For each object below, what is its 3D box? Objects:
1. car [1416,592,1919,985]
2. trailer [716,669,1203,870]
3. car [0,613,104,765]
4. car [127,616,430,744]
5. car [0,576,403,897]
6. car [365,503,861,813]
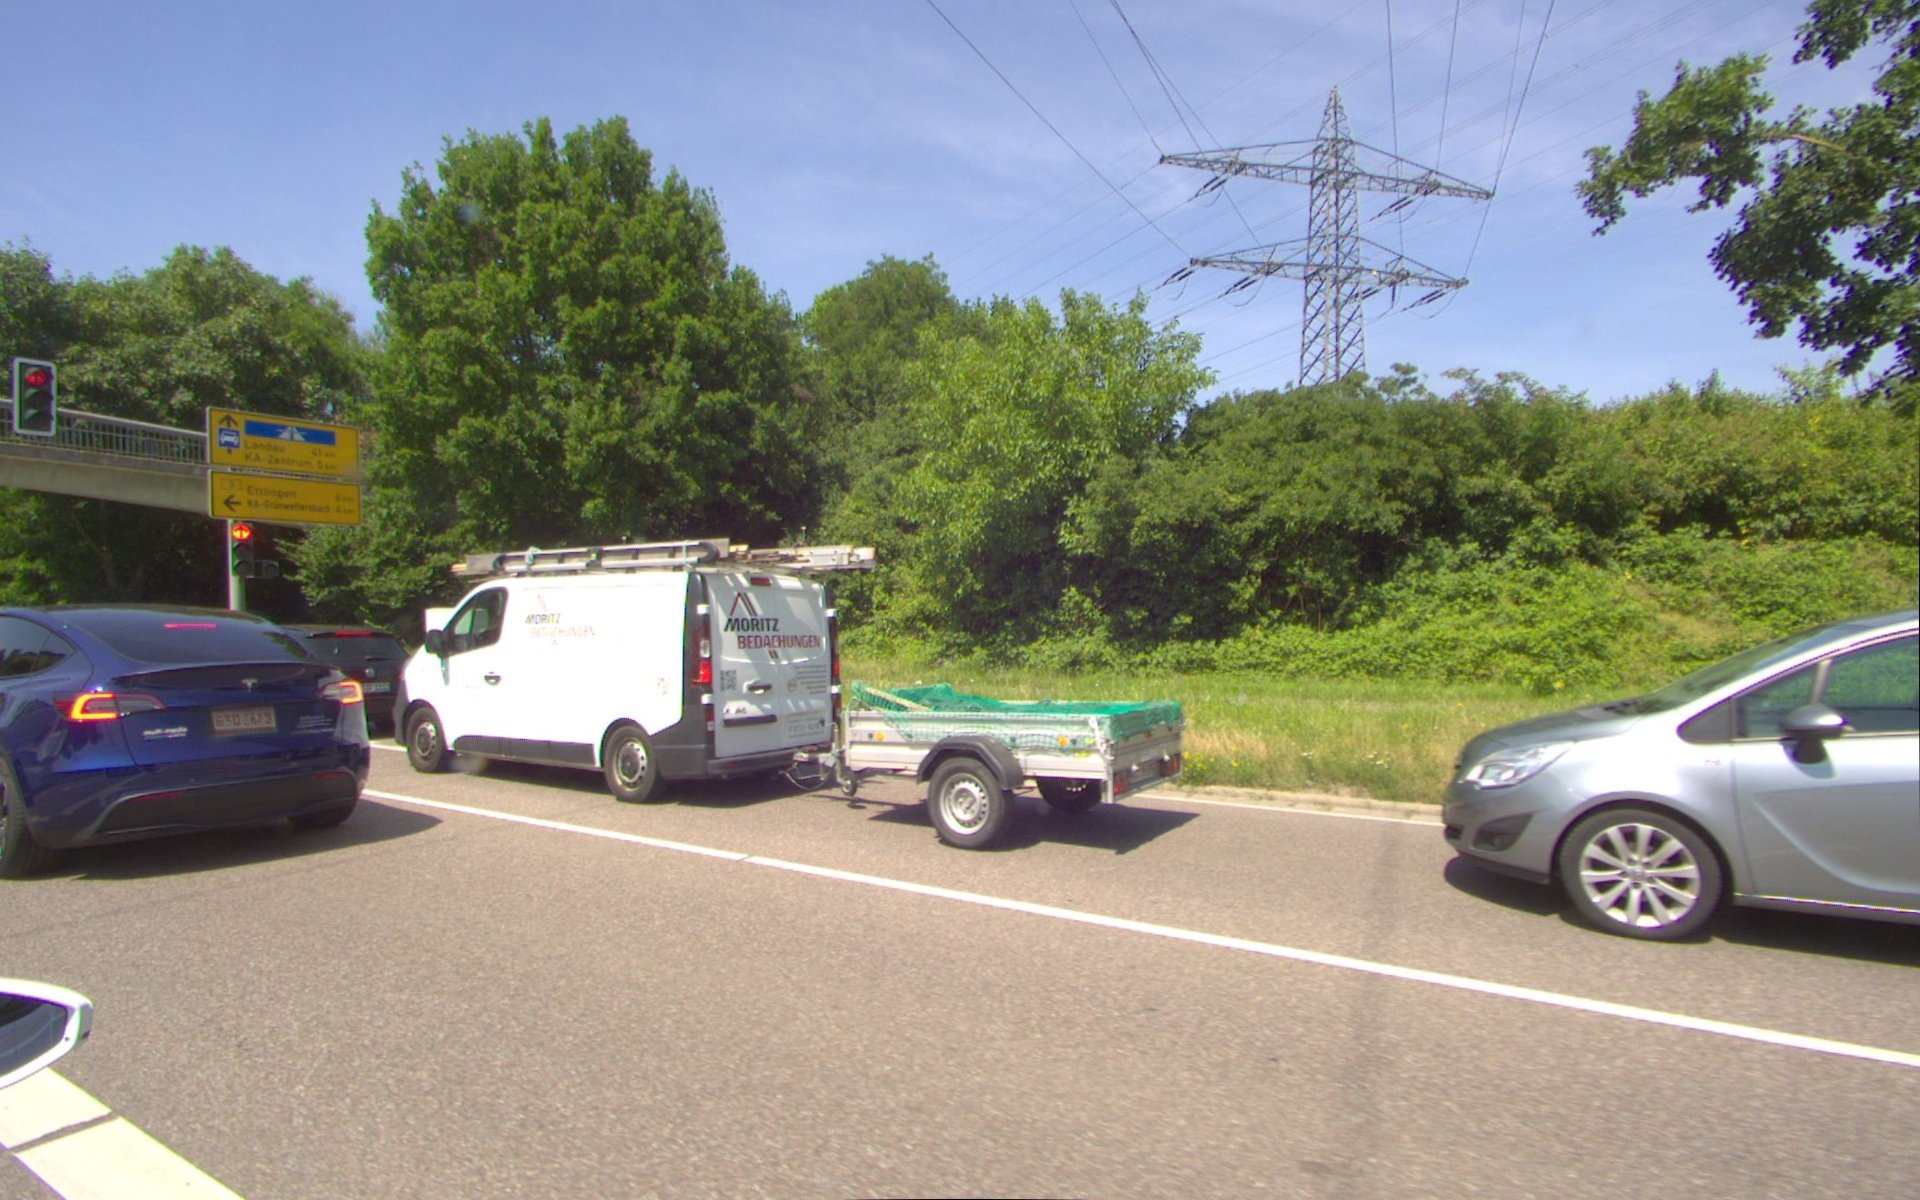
[{"bbox_3d":[4.537,0.782,4.780,4.106,1.617,1.761,0,0,33],"label":"car"},{"bbox_3d":[-0.042,1.110,7.511,3.276,1.019,1.703,0,-1,33],"label":"trailer"},{"bbox_3d":[-11.148,0.886,10.795,3.883,1.497,1.897,0,-1,33],"label":"car"},{"bbox_3d":[-9.364,0.979,13.681,4.318,1.497,1.897,0,-1,33],"label":"car"},{"bbox_3d":[-6.171,0.749,7.226,4.456,1.665,1.897,0,-1,33],"label":"car"},{"bbox_3d":[-3.544,0.491,9.863,5.003,2.379,1.929,-1,-1,32],"label":"car"}]
